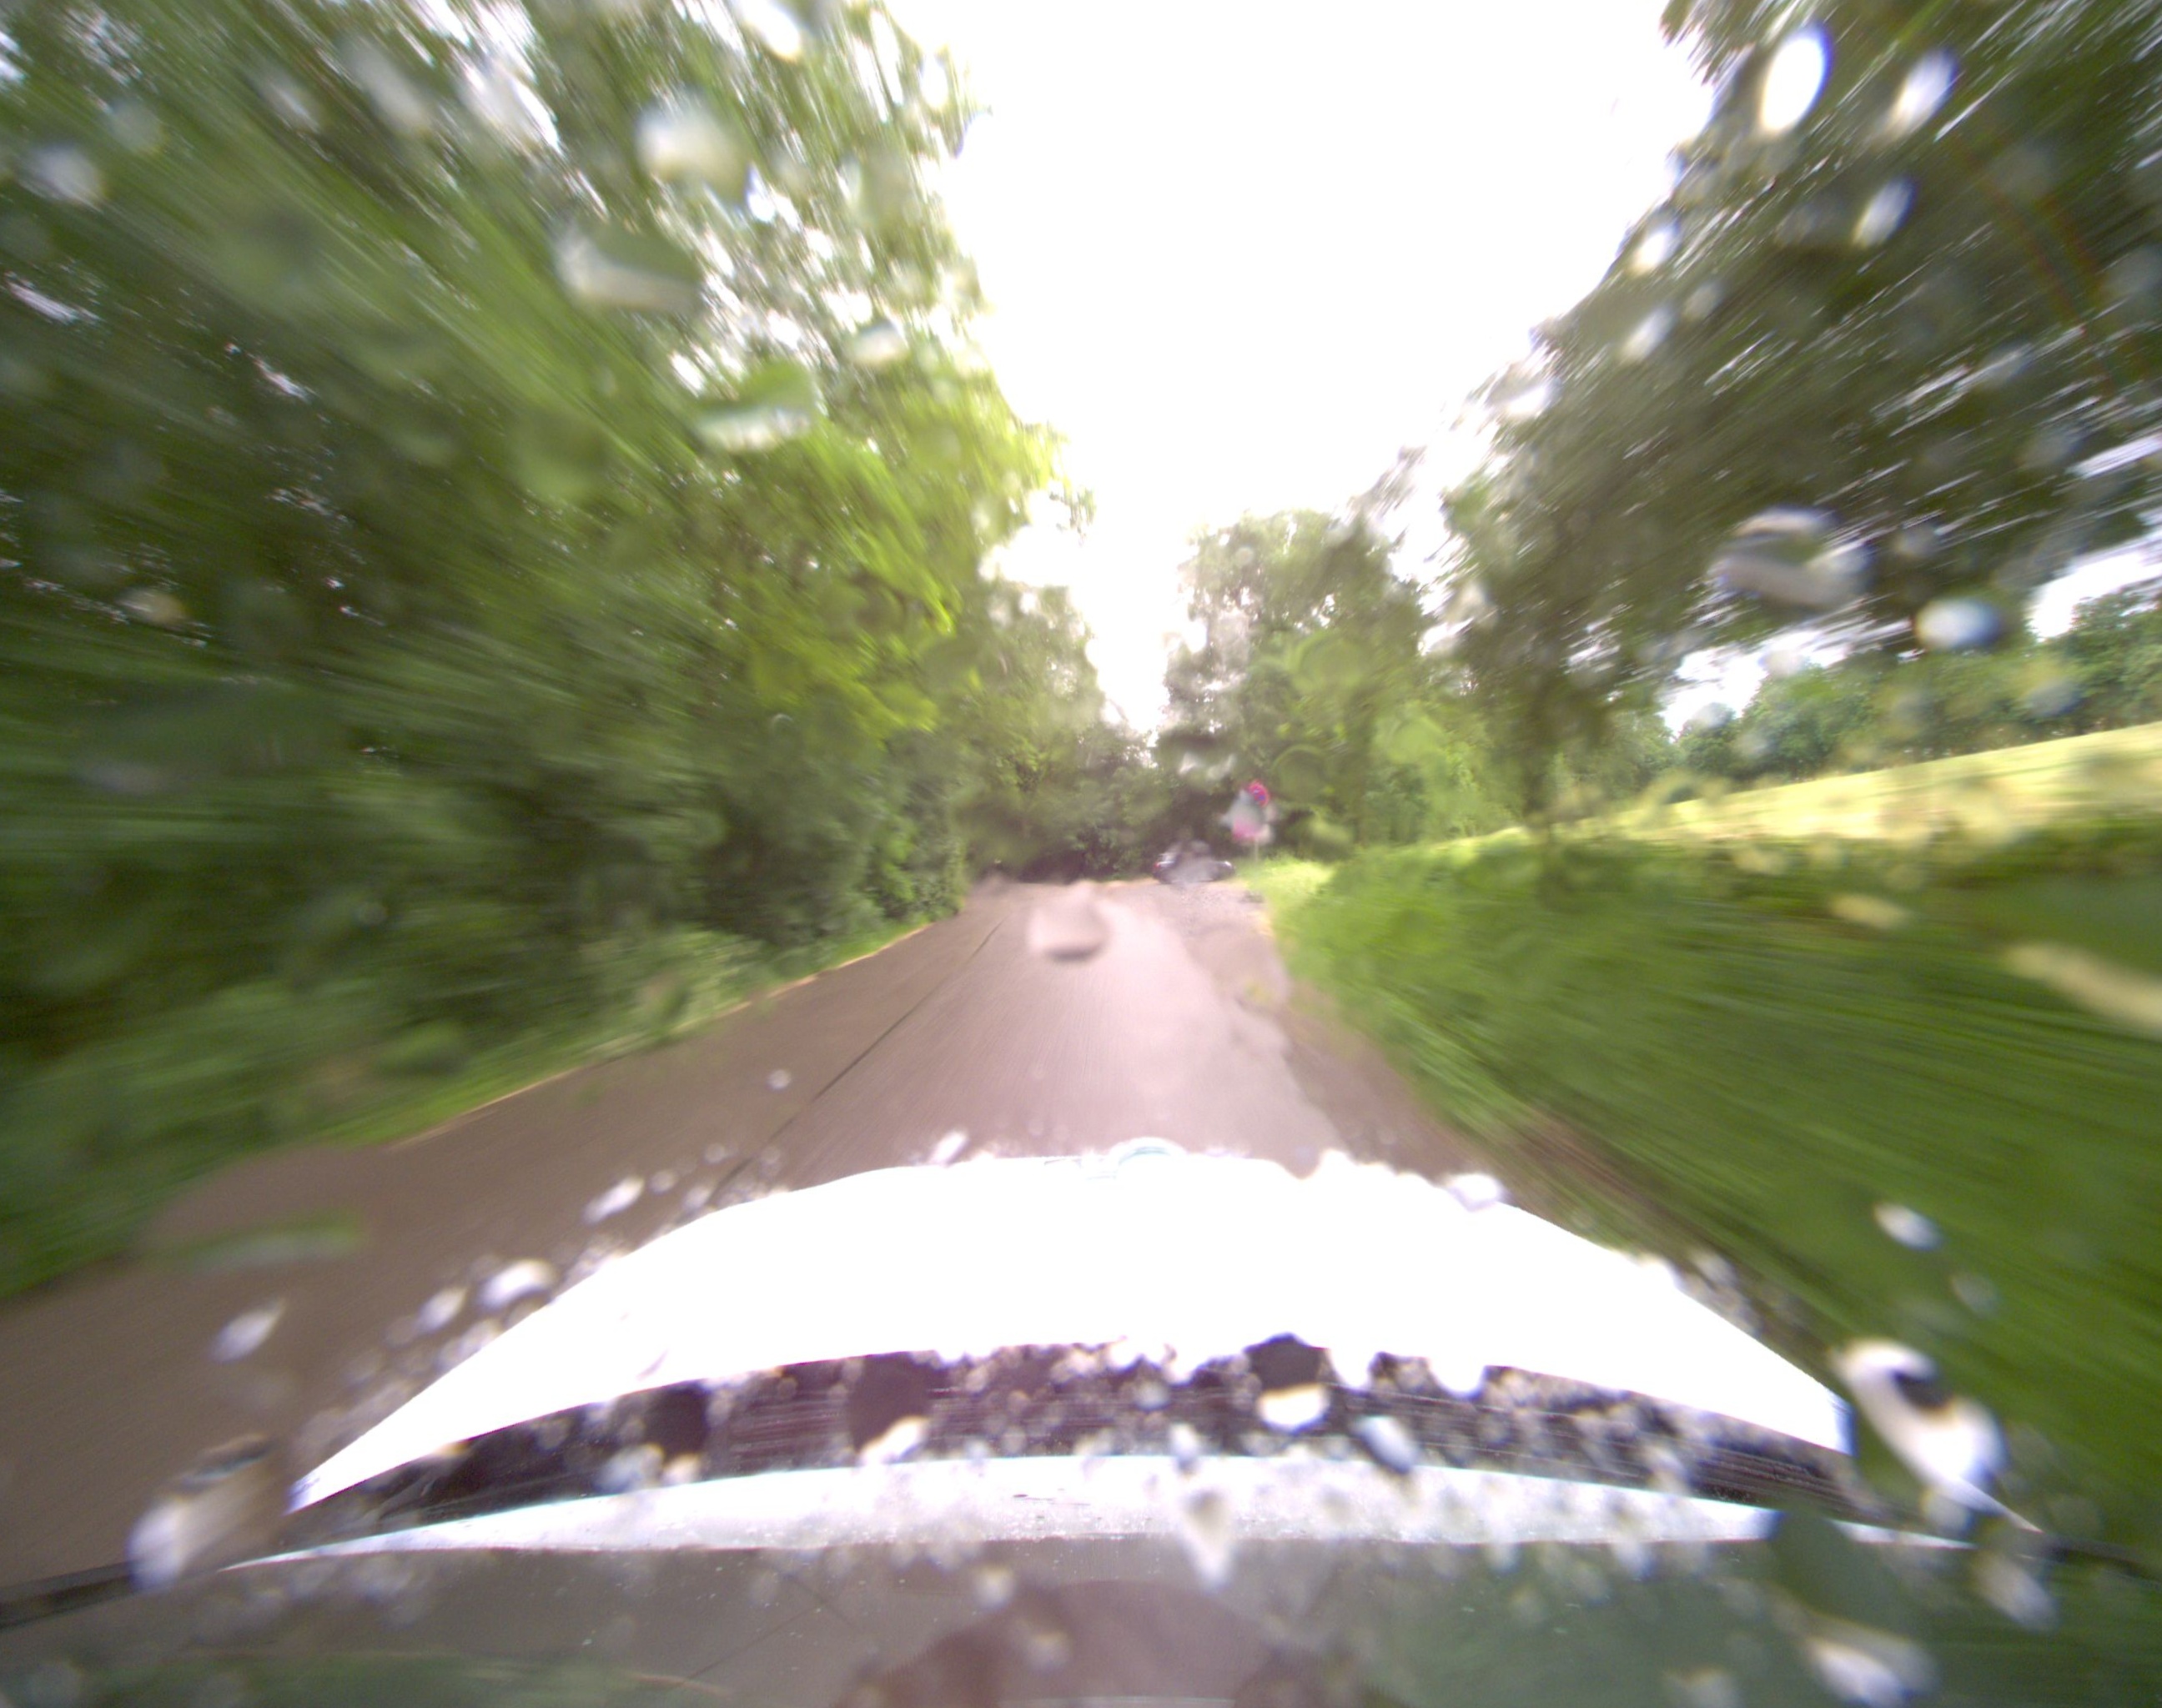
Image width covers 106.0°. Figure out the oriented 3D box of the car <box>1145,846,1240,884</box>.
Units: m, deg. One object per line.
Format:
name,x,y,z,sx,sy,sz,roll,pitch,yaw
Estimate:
car,5.082,0.500,37.533,3.975,1.390,1.999,-5,-1,-1
